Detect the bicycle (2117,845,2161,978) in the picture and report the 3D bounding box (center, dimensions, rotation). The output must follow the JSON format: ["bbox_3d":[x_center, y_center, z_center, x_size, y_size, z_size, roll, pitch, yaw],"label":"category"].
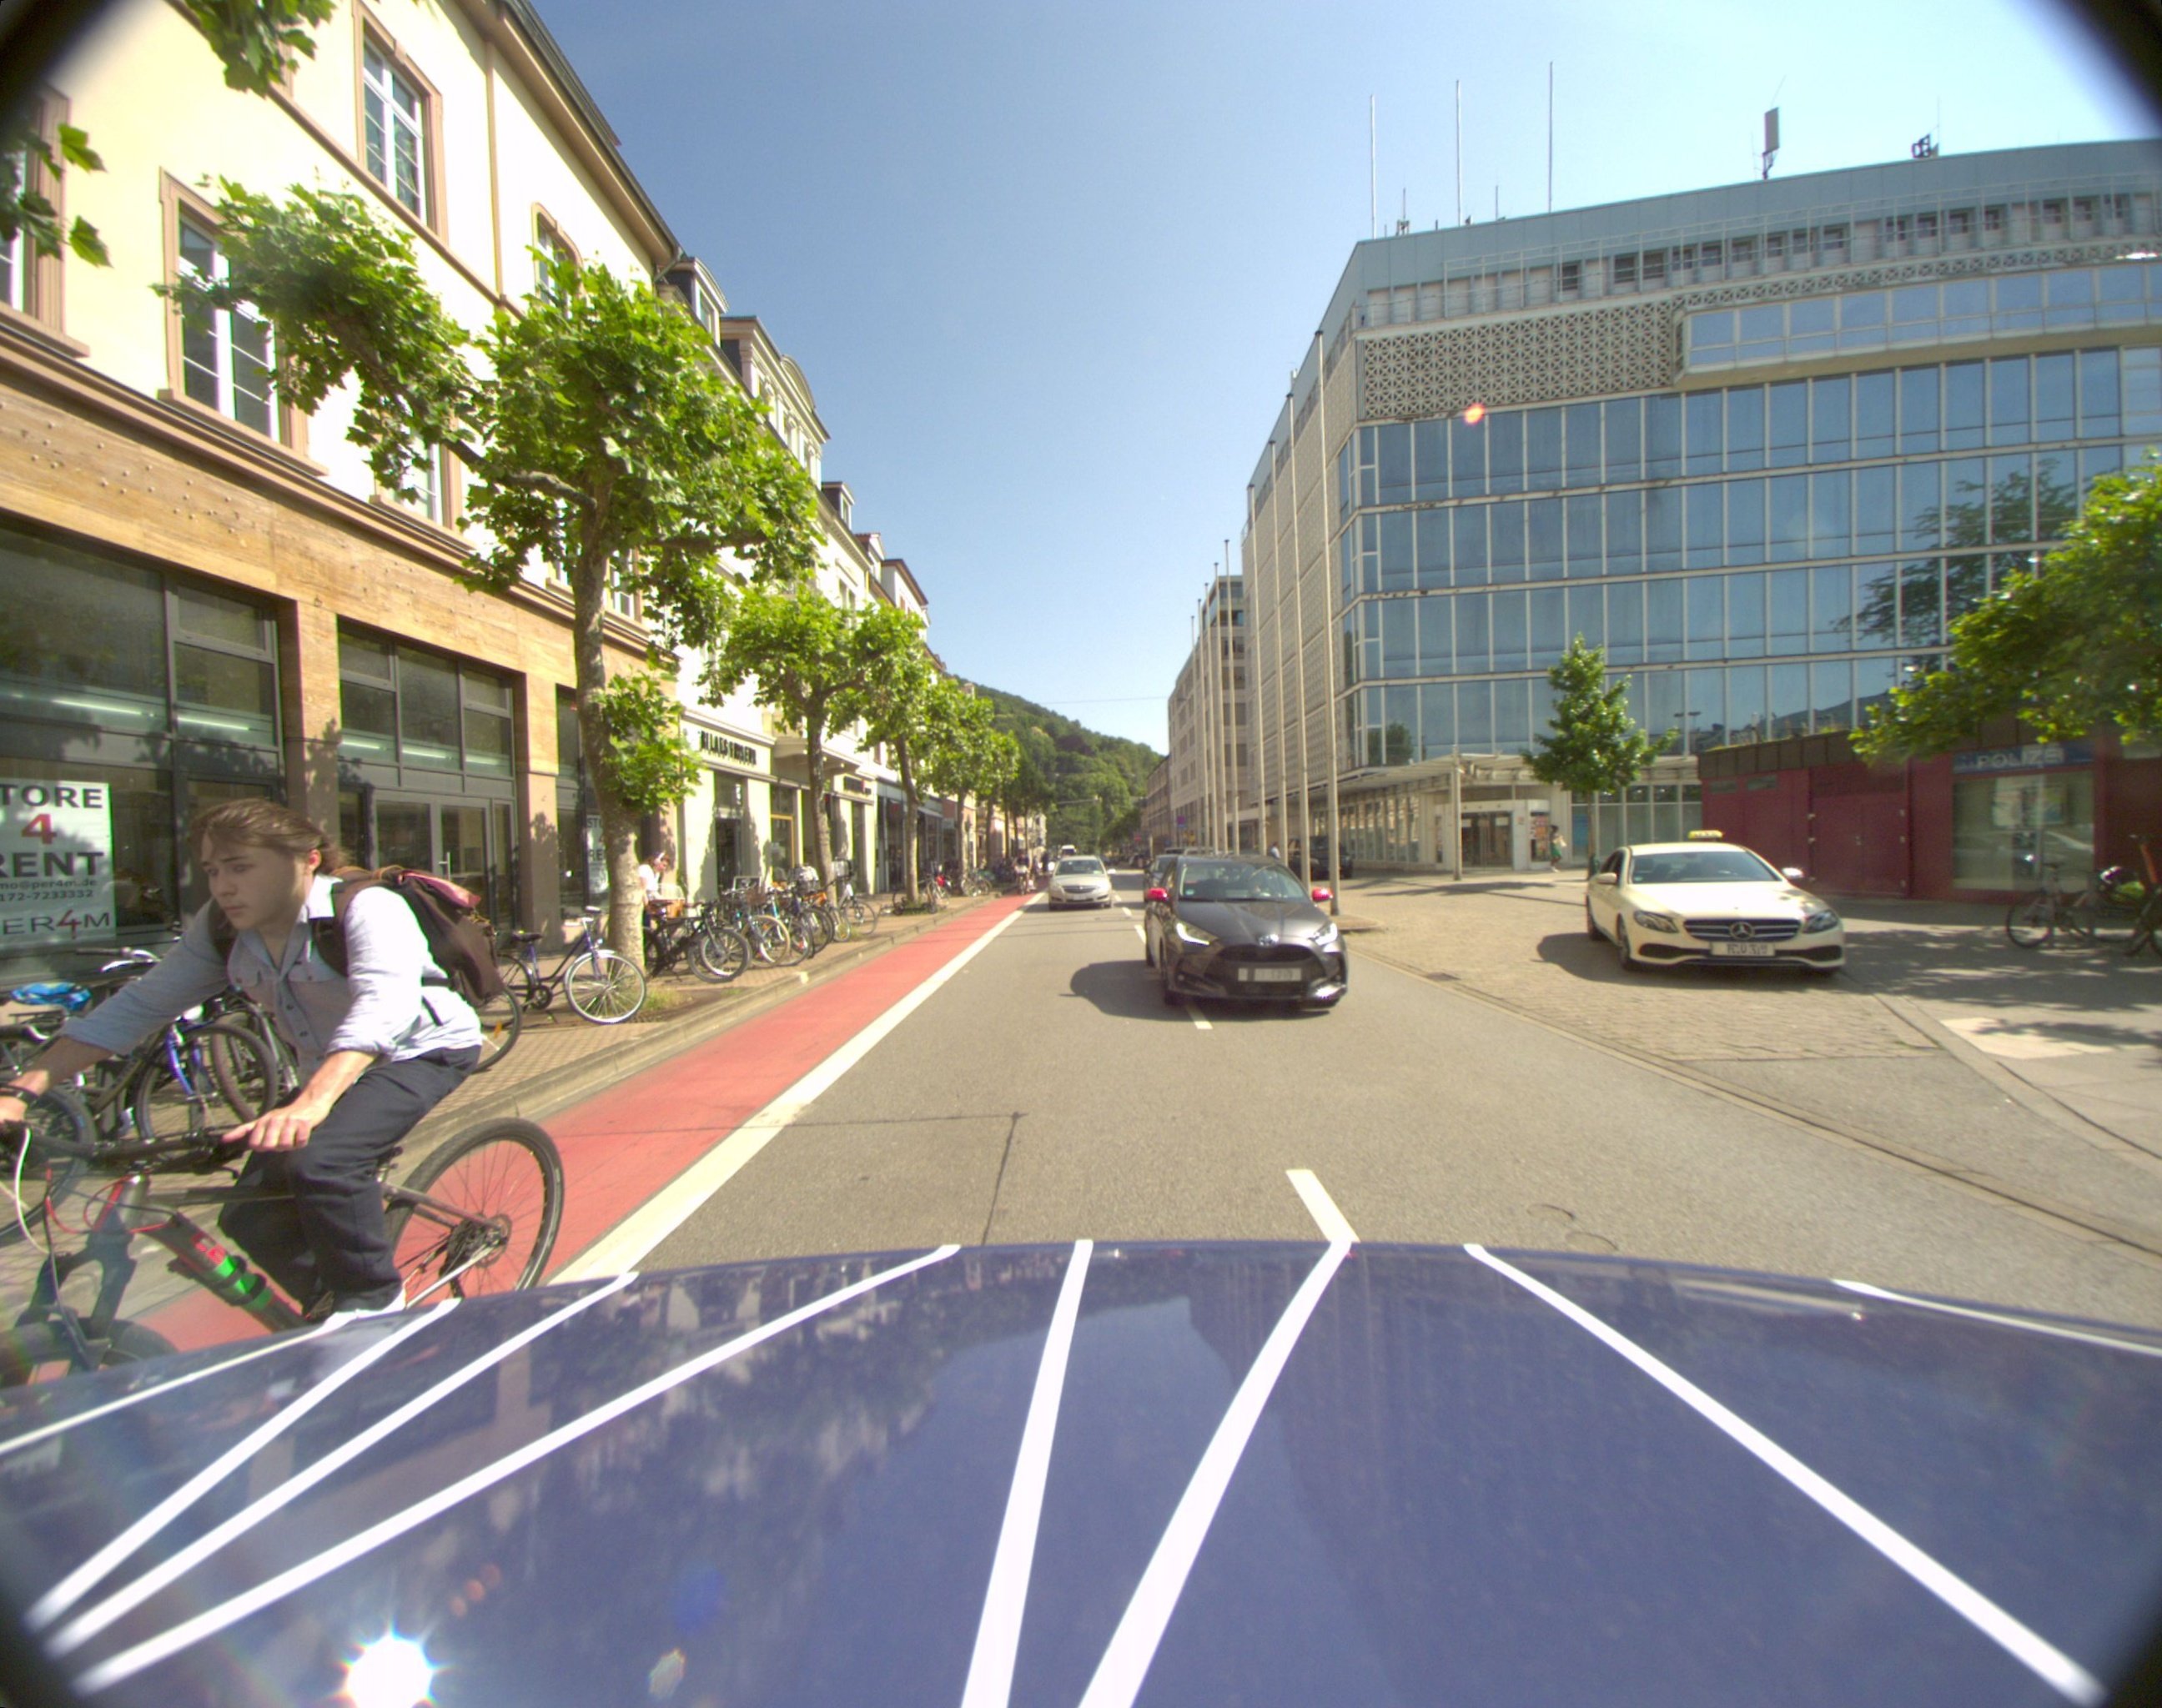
[{"bbox_3d":[11.573,0.544,7.569,1.786,1.301,0.562,-2,1,-2],"label":"bicycle"}]

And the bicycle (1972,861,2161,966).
[{"bbox_3d":[11.553,0.669,8.831,1.786,1.099,0.562,-2,1,-2],"label":"bicycle"}]

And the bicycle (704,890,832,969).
[{"bbox_3d":[-4.801,1.151,11.688,1.732,1.102,0.477,-2,1,3],"label":"bicycle"}]

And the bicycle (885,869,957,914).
[{"bbox_3d":[-4.613,1.073,21.952,1.844,1.179,0.670,-3,1,6],"label":"bicycle"}]

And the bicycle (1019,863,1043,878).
[{"bbox_3d":[-3.984,1.306,60.565,1.855,0.396,1.014,-9,35,5],"label":"bicycle"}]

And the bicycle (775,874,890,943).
[{"bbox_3d":[-4.835,1.053,14.855,1.936,1.241,0.736,-2,1,3],"label":"bicycle"}]

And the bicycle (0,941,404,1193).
[{"bbox_3d":[-4.877,1.133,4.161,1.848,1.194,0.545,-2,1,3],"label":"bicycle"}]

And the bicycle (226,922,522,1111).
[{"bbox_3d":[-4.970,1.130,5.381,1.653,1.194,0.474,-2,1,3],"label":"bicycle"}]

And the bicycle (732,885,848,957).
[{"bbox_3d":[-4.781,1.101,12.521,1.732,1.102,0.402,-2,1,3],"label":"bicycle"}]

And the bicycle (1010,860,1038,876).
[{"bbox_3d":[-4.056,0.995,54.244,1.844,1.120,0.666,-1,1,3],"label":"bicycle"}]

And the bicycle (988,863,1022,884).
[{"bbox_3d":[-4.358,1.092,43.760,1.846,1.087,0.564,-3,1,-10],"label":"bicycle"}]

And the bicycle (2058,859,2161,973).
[{"bbox_3d":[11.697,0.627,8.139,1.786,1.125,0.562,-2,1,-2],"label":"bicycle"}]

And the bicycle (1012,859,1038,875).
[{"bbox_3d":[-4.140,0.975,56.104,1.844,1.120,0.643,-1,1,3],"label":"bicycle"}]

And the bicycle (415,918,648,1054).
[{"bbox_3d":[-4.953,1.176,6.905,1.653,1.088,0.607,-2,1,3],"label":"bicycle"}]

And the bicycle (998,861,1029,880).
[{"bbox_3d":[-4.139,1.009,46.826,1.849,1.120,0.592,-3,2,-35],"label":"bicycle"}]

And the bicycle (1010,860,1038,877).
[{"bbox_3d":[-4.017,1.001,53.548,1.844,1.120,0.530,-1,2,3],"label":"bicycle"}]

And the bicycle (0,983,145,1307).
[{"bbox_3d":[-5.046,1.177,3.027,1.848,1.157,0.659,-2,1,3],"label":"bicycle"}]

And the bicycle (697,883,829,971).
[{"bbox_3d":[-4.725,1.076,11.325,1.732,1.210,0.477,-2,1,3],"label":"bicycle"}]

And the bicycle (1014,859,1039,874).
[{"bbox_3d":[-4.145,0.946,58.125,1.844,1.120,0.666,-1,1,3],"label":"bicycle"}]

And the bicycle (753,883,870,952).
[{"bbox_3d":[-4.719,1.103,13.372,1.732,1.102,0.736,-2,1,3],"label":"bicycle"}]

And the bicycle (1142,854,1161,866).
[{"bbox_3d":[7.359,0.636,79.593,0.606,1.166,2.059,-4,2,-44],"label":"bicycle"}]

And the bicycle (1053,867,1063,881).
[{"bbox_3d":[-1.813,1.559,59.775,0.664,1.111,1.992,-1,-1,2],"label":"bicycle"}]

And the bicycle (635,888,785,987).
[{"bbox_3d":[-4.919,1.104,10.112,1.732,1.210,0.477,-2,1,3],"label":"bicycle"}]

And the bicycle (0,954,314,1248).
[{"bbox_3d":[-4.920,1.144,3.655,1.848,1.194,0.608,-2,1,3],"label":"bicycle"}]

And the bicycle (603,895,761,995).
[{"bbox_3d":[-5.035,1.140,9.628,1.732,1.155,0.477,-2,1,3],"label":"bicycle"}]

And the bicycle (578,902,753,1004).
[{"bbox_3d":[-4.958,1.170,9.117,1.732,1.088,0.607,-2,1,3],"label":"bicycle"}]

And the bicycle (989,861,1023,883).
[{"bbox_3d":[-4.266,1.030,43.259,1.846,1.120,0.632,-4,1,-10],"label":"bicycle"}]

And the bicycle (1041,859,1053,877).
[{"bbox_3d":[-2.286,0.929,51.231,0.607,1.120,1.860,0,1,2],"label":"bicycle"}]

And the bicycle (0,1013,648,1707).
[{"bbox_3d":[-1.941,1.170,1.754,0.700,1.120,2.081,-3,1,-3],"label":"bicycle"}]

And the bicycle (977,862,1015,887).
[{"bbox_3d":[-4.360,1.056,38.806,1.845,1.120,0.497,-4,0,-7],"label":"bicycle"}]

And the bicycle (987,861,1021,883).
[{"bbox_3d":[-4.490,1.049,44.504,1.846,1.121,0.764,-4,2,-12],"label":"bicycle"}]

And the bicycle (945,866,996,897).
[{"bbox_3d":[-4.305,1.066,29.712,1.843,1.120,0.498,-3,1,12],"label":"bicycle"}]

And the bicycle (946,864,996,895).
[{"bbox_3d":[-4.459,1.025,30.780,1.843,1.190,0.674,-2,1,8],"label":"bicycle"}]

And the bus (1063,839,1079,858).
[{"bbox_3d":[-2.042,-1.103,149.827,2.924,3.516,12.497,-1,1,-1],"label":"bus"}]

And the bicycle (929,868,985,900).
[{"bbox_3d":[-4.581,1.096,28.061,1.844,1.091,0.794,-2,1,6],"label":"bicycle"}]

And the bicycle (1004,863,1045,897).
[{"bbox_3d":[-2.213,1.020,30.223,0.733,1.261,2.285,-3,-1,18],"label":"bicycle"}]

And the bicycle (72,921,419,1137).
[{"bbox_3d":[-5.971,1.172,5.592,0.473,1.181,1.656,-2,1,13],"label":"bicycle"}]

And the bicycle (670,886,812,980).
[{"bbox_3d":[-4.727,1.090,10.600,1.732,1.210,0.477,-2,1,3],"label":"bicycle"}]

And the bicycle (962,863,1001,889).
[{"bbox_3d":[-4.862,1.065,37.147,1.783,1.190,0.576,-3,1,-27],"label":"bicycle"}]

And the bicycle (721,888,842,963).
[{"bbox_3d":[-4.761,1.131,12.106,1.732,1.102,0.402,-2,1,3],"label":"bicycle"}]

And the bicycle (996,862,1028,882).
[{"bbox_3d":[-4.130,1.058,45.471,1.844,1.087,0.564,-3,1,1],"label":"bicycle"}]

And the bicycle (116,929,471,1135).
[{"bbox_3d":[-5.104,1.139,4.970,1.848,1.194,0.474,-2,1,3],"label":"bicycle"}]
